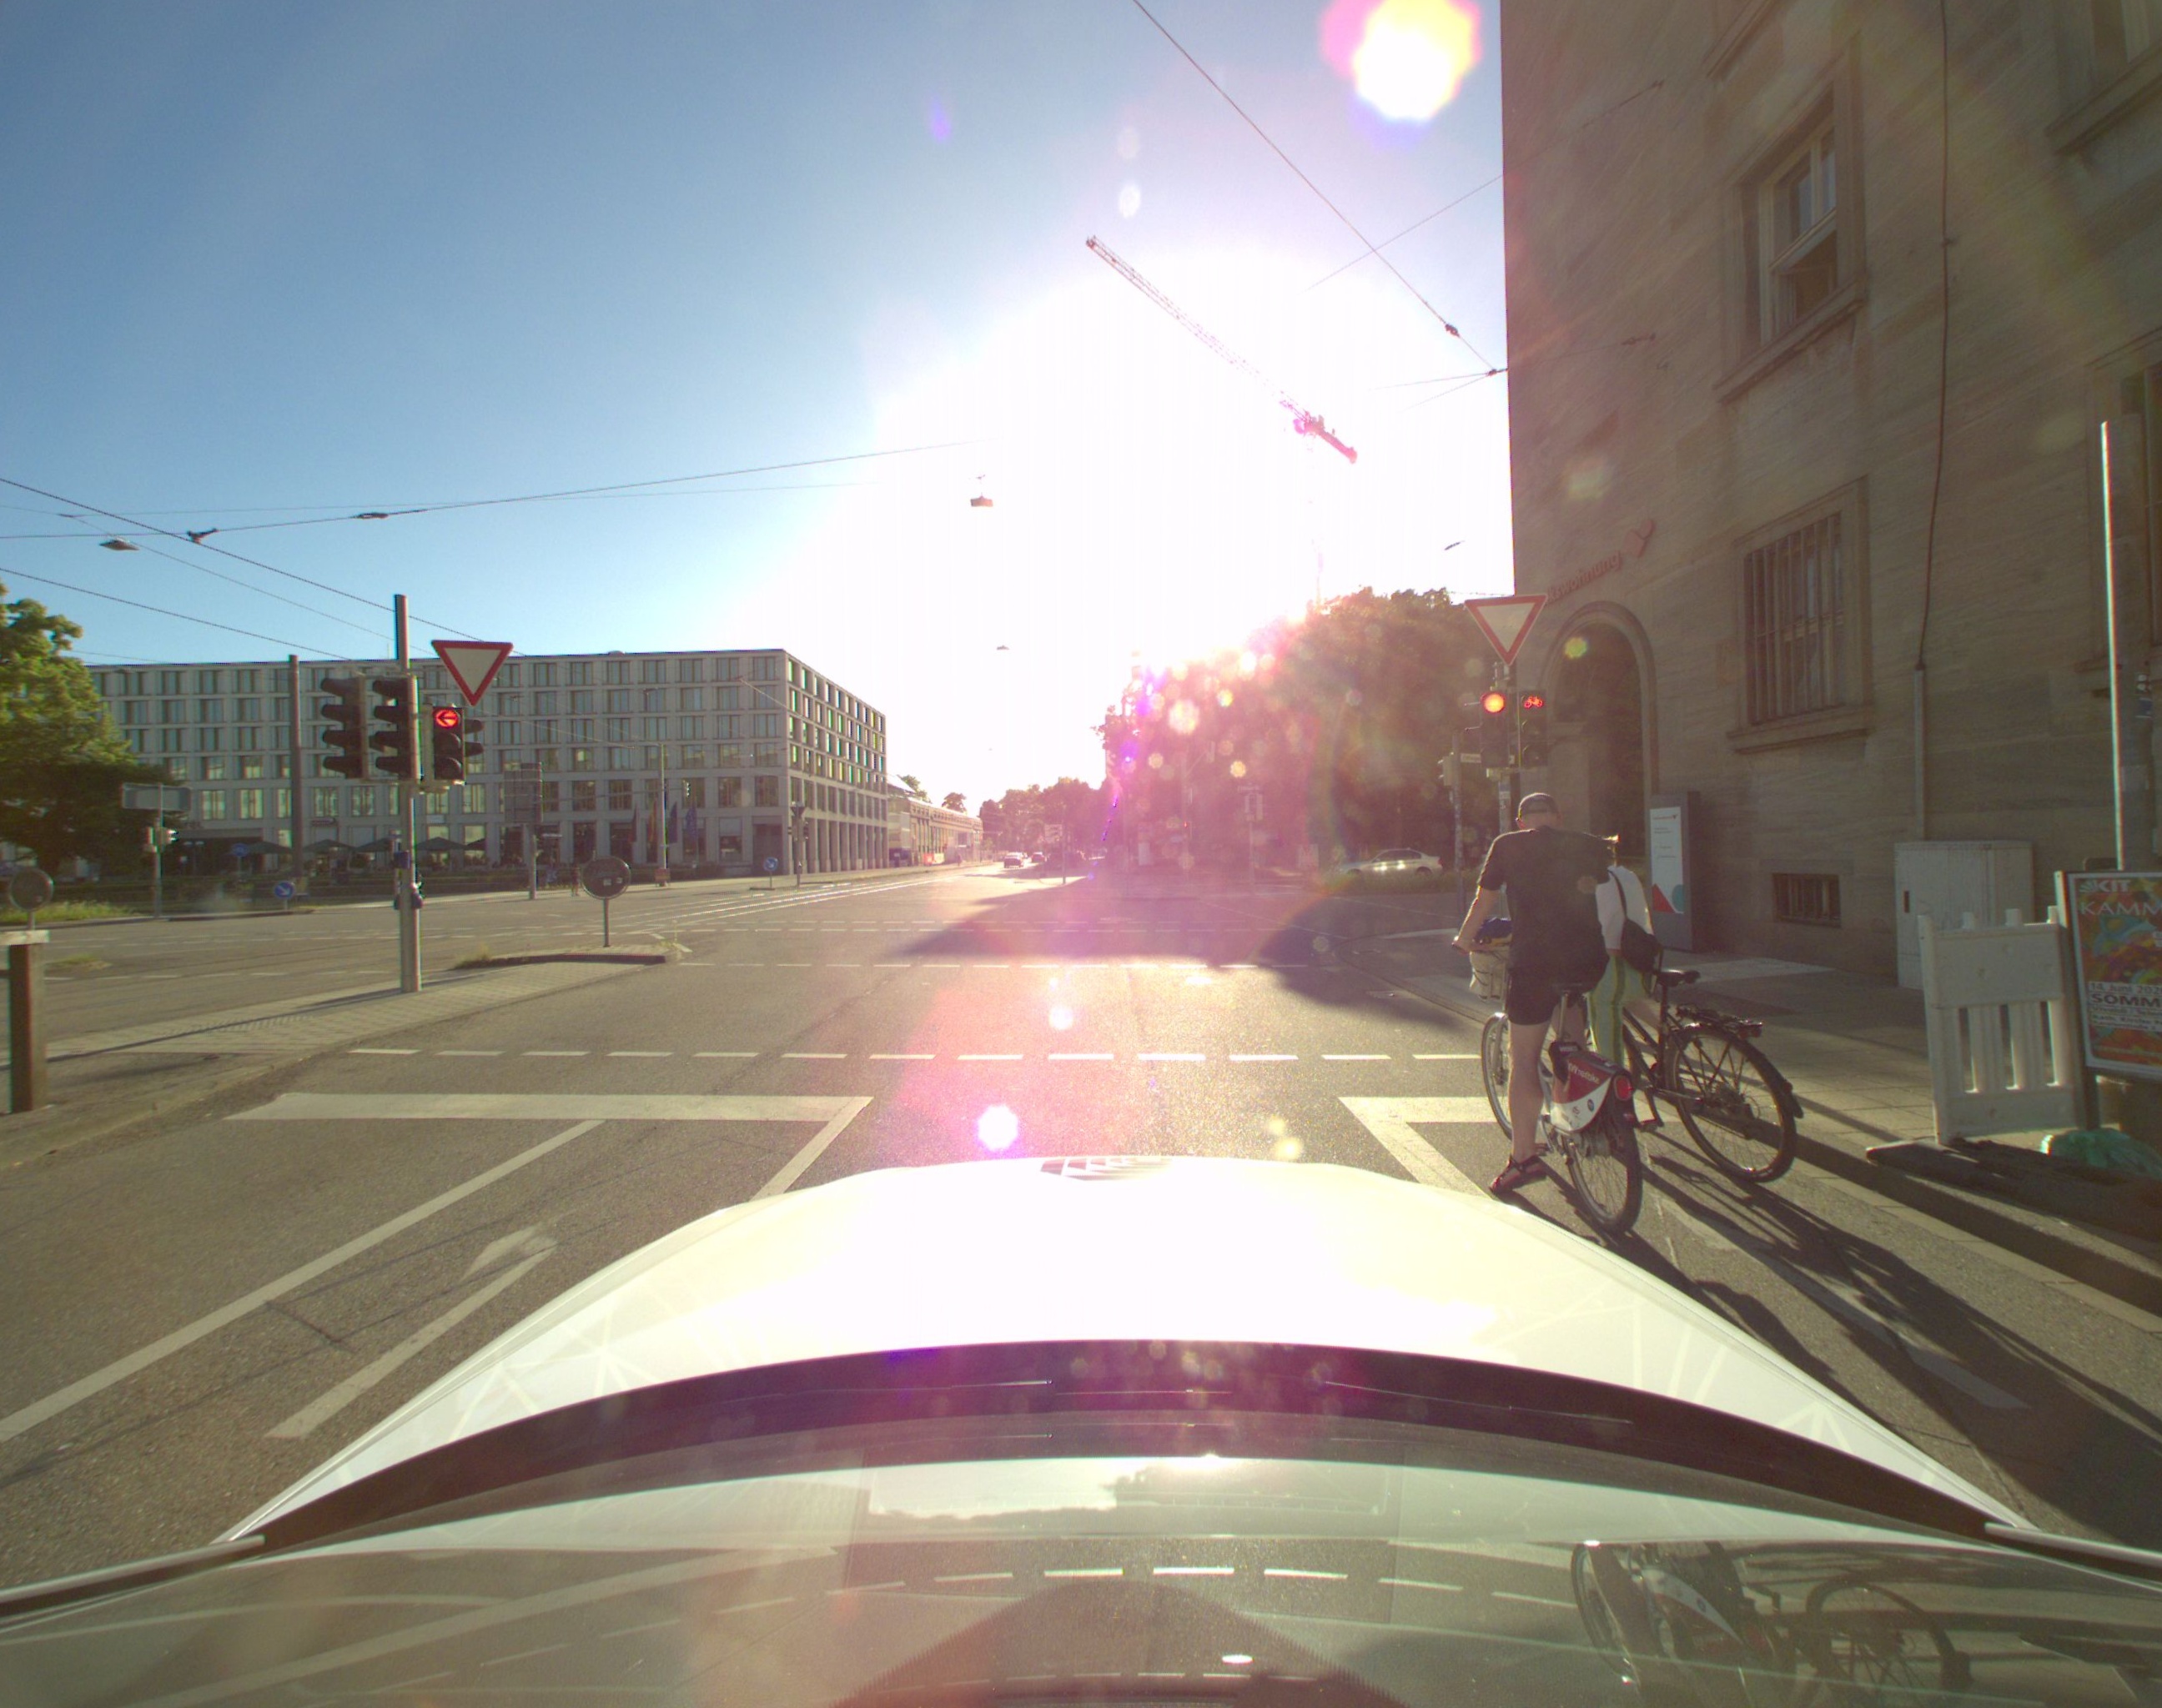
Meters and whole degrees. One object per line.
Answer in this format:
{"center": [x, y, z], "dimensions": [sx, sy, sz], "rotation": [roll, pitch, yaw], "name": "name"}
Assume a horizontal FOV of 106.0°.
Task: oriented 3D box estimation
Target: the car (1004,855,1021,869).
{"center": [-7.296, 0.833, 86.920], "dimensions": [1.656, 1.455, 4.427], "rotation": [-1, 0, -3], "name": "car"}

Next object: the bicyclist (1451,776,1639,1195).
{"center": [2.120, 0.566, 3.782], "dimensions": [0.556, 1.799, 0.551], "rotation": [-1, 0, 3], "name": "bicyclist"}

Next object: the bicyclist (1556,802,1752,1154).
{"center": [2.951, 0.596, 4.249], "dimensions": [0.556, 1.691, 0.640], "rotation": [-1, 0, 0], "name": "bicyclist"}

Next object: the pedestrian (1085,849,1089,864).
{"center": [0.753, 0.305, 97.908], "dimensions": [0.462, 1.813, 0.502], "rotation": [-2, 0, -3], "name": "pedestrian"}

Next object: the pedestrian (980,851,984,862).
{"center": [-18.572, 0.442, 152.624], "dimensions": [0.672, 2.014, 0.751], "rotation": [0, -1, -1], "name": "pedestrian"}

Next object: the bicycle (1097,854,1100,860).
{"center": [3.151, 0.513, 145.504], "dimensions": [0.573, 1.077, 1.831], "rotation": [-2, 0, 1], "name": "bicycle"}

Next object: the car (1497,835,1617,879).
{"center": [19.214, 0.120, 32.979], "dimensions": [3.835, 1.611, 1.650], "rotation": [-2, 0, 1], "name": "car"}

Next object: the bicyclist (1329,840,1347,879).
{"center": [11.336, 0.240, 35.898], "dimensions": [0.640, 1.683, 0.508], "rotation": [-2, 0, 7], "name": "bicyclist"}

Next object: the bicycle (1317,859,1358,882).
{"center": [11.291, 0.735, 35.906], "dimensions": [1.657, 0.963, 0.535], "rotation": [-2, 0, 7], "name": "bicycle"}

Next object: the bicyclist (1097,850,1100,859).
{"center": [3.138, 0.094, 145.565], "dimensions": [0.567, 1.691, 0.700], "rotation": [-2, 0, 1], "name": "bicyclist"}

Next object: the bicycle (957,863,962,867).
{"center": [-15.270, 1.335, 102.477], "dimensions": [0.499, 0.515, 1.258], "rotation": [0, -1, 1], "name": "bicycle"}

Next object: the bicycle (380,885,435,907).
{"center": [-32.705, 2.019, 39.565], "dimensions": [0.753, 0.935, 1.874], "rotation": [-2, 0, 24], "name": "bicycle"}

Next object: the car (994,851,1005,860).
{"center": [-15.655, 0.258, 157.077], "dimensions": [1.688, 1.718, 4.245], "rotation": [0, -1, -1], "name": "car"}

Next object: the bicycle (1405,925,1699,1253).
{"center": [2.118, 0.962, 3.939], "dimensions": [0.513, 1.077, 1.729], "rotation": [-1, 0, 4], "name": "bicycle"}

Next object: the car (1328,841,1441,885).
{"center": [12.347, 0.356, 33.257], "dimensions": [3.979, 1.611, 1.650], "rotation": [-2, 0, 1], "name": "car"}

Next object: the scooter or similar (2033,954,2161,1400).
{"center": [3.229, 0.908, 1.862], "dimensions": [0.533, 1.185, 1.328], "rotation": [-2, 0, 1], "name": "scooter or similar"}

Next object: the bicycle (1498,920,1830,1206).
{"center": [2.940, 0.963, 4.356], "dimensions": [0.532, 1.077, 1.751], "rotation": [-1, 0, 1], "name": "bicycle"}

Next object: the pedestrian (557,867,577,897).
{"center": [-28.699, 1.560, 45.502], "dimensions": [0.777, 1.589, 0.587], "rotation": [-2, 0, -17], "name": "pedestrian"}

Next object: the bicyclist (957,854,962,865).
{"center": [-15.277, 0.718, 102.474], "dimensions": [0.594, 1.377, 0.637], "rotation": [0, -1, 0], "name": "bicyclist"}

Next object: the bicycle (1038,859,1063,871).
{"center": [-2.567, 0.906, 67.707], "dimensions": [1.996, 0.891, 0.655], "rotation": [-4, -1, 29], "name": "bicycle"}

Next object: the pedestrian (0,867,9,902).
{"center": [-61.482, 1.731, 45.992], "dimensions": [0.837, 2.014, 0.827], "rotation": [-1, -1, 11], "name": "pedestrian"}

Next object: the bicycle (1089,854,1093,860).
{"center": [1.828, 0.522, 145.420], "dimensions": [0.573, 1.077, 1.831], "rotation": [-2, 0, 1], "name": "bicycle"}

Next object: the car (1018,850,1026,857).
{"center": [-14.221, -0.127, 195.327], "dimensions": [1.688, 1.718, 4.245], "rotation": [0, -1, -1], "name": "car"}

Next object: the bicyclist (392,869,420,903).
{"center": [-32.756, 1.541, 39.521], "dimensions": [0.752, 1.589, 0.782], "rotation": [-2, 0, 26], "name": "bicyclist"}

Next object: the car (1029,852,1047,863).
{"center": [-6.292, 0.489, 120.561], "dimensions": [1.883, 1.565, 4.815], "rotation": [1, 0, 6], "name": "car"}

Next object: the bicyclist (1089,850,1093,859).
{"center": [1.812, 0.056, 145.481], "dimensions": [0.567, 1.691, 0.700], "rotation": [-2, 0, 1], "name": "bicyclist"}
